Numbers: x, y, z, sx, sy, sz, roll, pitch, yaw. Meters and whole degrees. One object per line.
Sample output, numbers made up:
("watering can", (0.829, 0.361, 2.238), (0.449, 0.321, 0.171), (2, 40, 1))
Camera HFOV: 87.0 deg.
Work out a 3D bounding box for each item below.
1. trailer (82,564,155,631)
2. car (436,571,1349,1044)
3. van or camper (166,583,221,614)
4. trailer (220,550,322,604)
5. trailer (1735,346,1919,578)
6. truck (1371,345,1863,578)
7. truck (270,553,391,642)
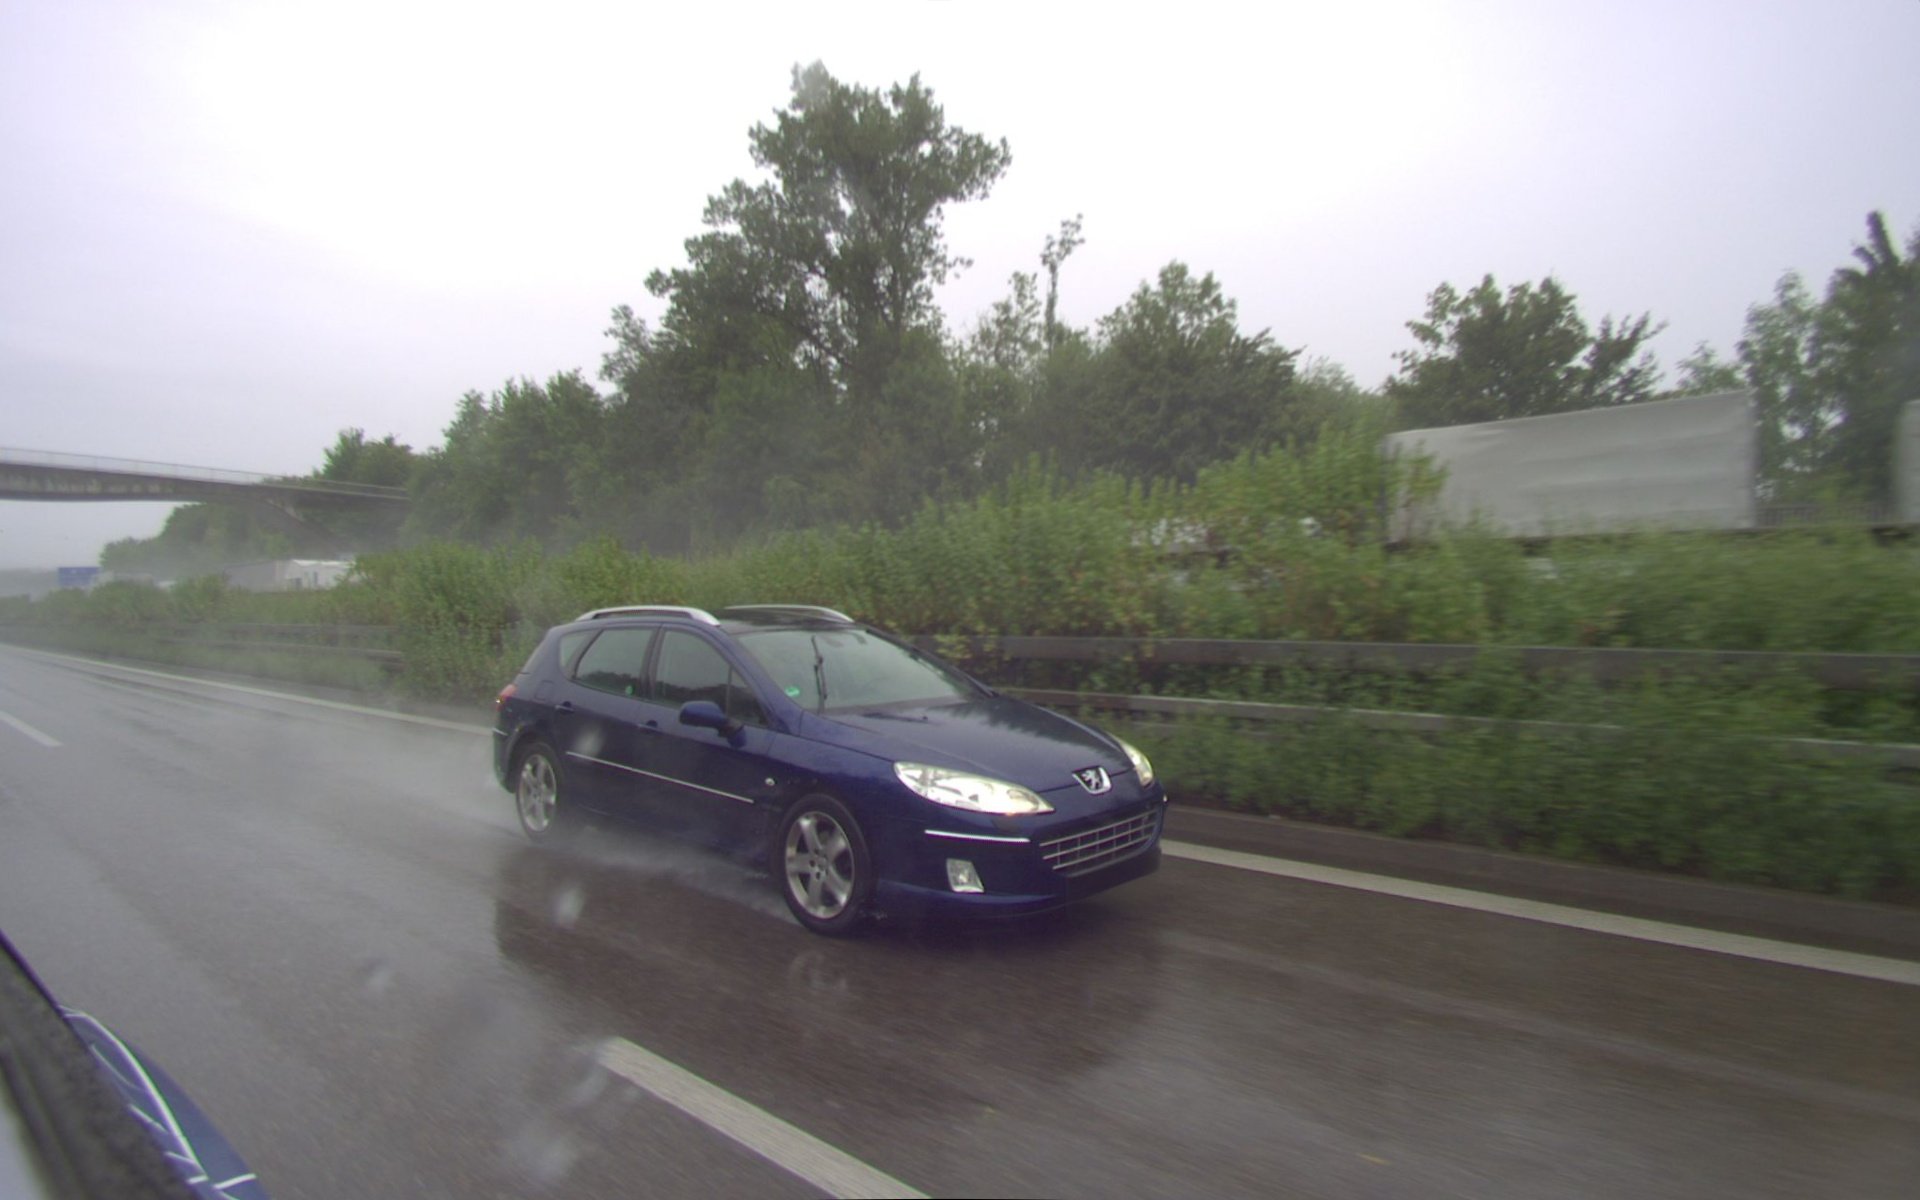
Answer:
("trailer", (-73.650, -0.125, 88.467), (11.544, 5.499, 3.391), (-1, -1, 42))
("car", (-0.782, 0.659, 5.661), (5.154, 1.496, 2.033), (0, 0, 41))
("van or camper", (-52.290, -0.050, 69.021), (5.894, 2.029, 1.964), (-1, -1, 42))
("trailer", (-49.114, -1.518, 71.922), (11.544, 3.410, 3.391), (-1, -1, 42))
("trailer", (12.456, -1.561, 10.662), (6.646, 2.446, 2.247), (-1, 0, 42))
("truck", (8.783, -1.611, 13.942), (5.340, 2.441, 2.217), (-1, 0, 40))
("truck", (-30.954, -0.078, 49.611), (7.704, 4.048, 3.003), (-1, -1, 42))
